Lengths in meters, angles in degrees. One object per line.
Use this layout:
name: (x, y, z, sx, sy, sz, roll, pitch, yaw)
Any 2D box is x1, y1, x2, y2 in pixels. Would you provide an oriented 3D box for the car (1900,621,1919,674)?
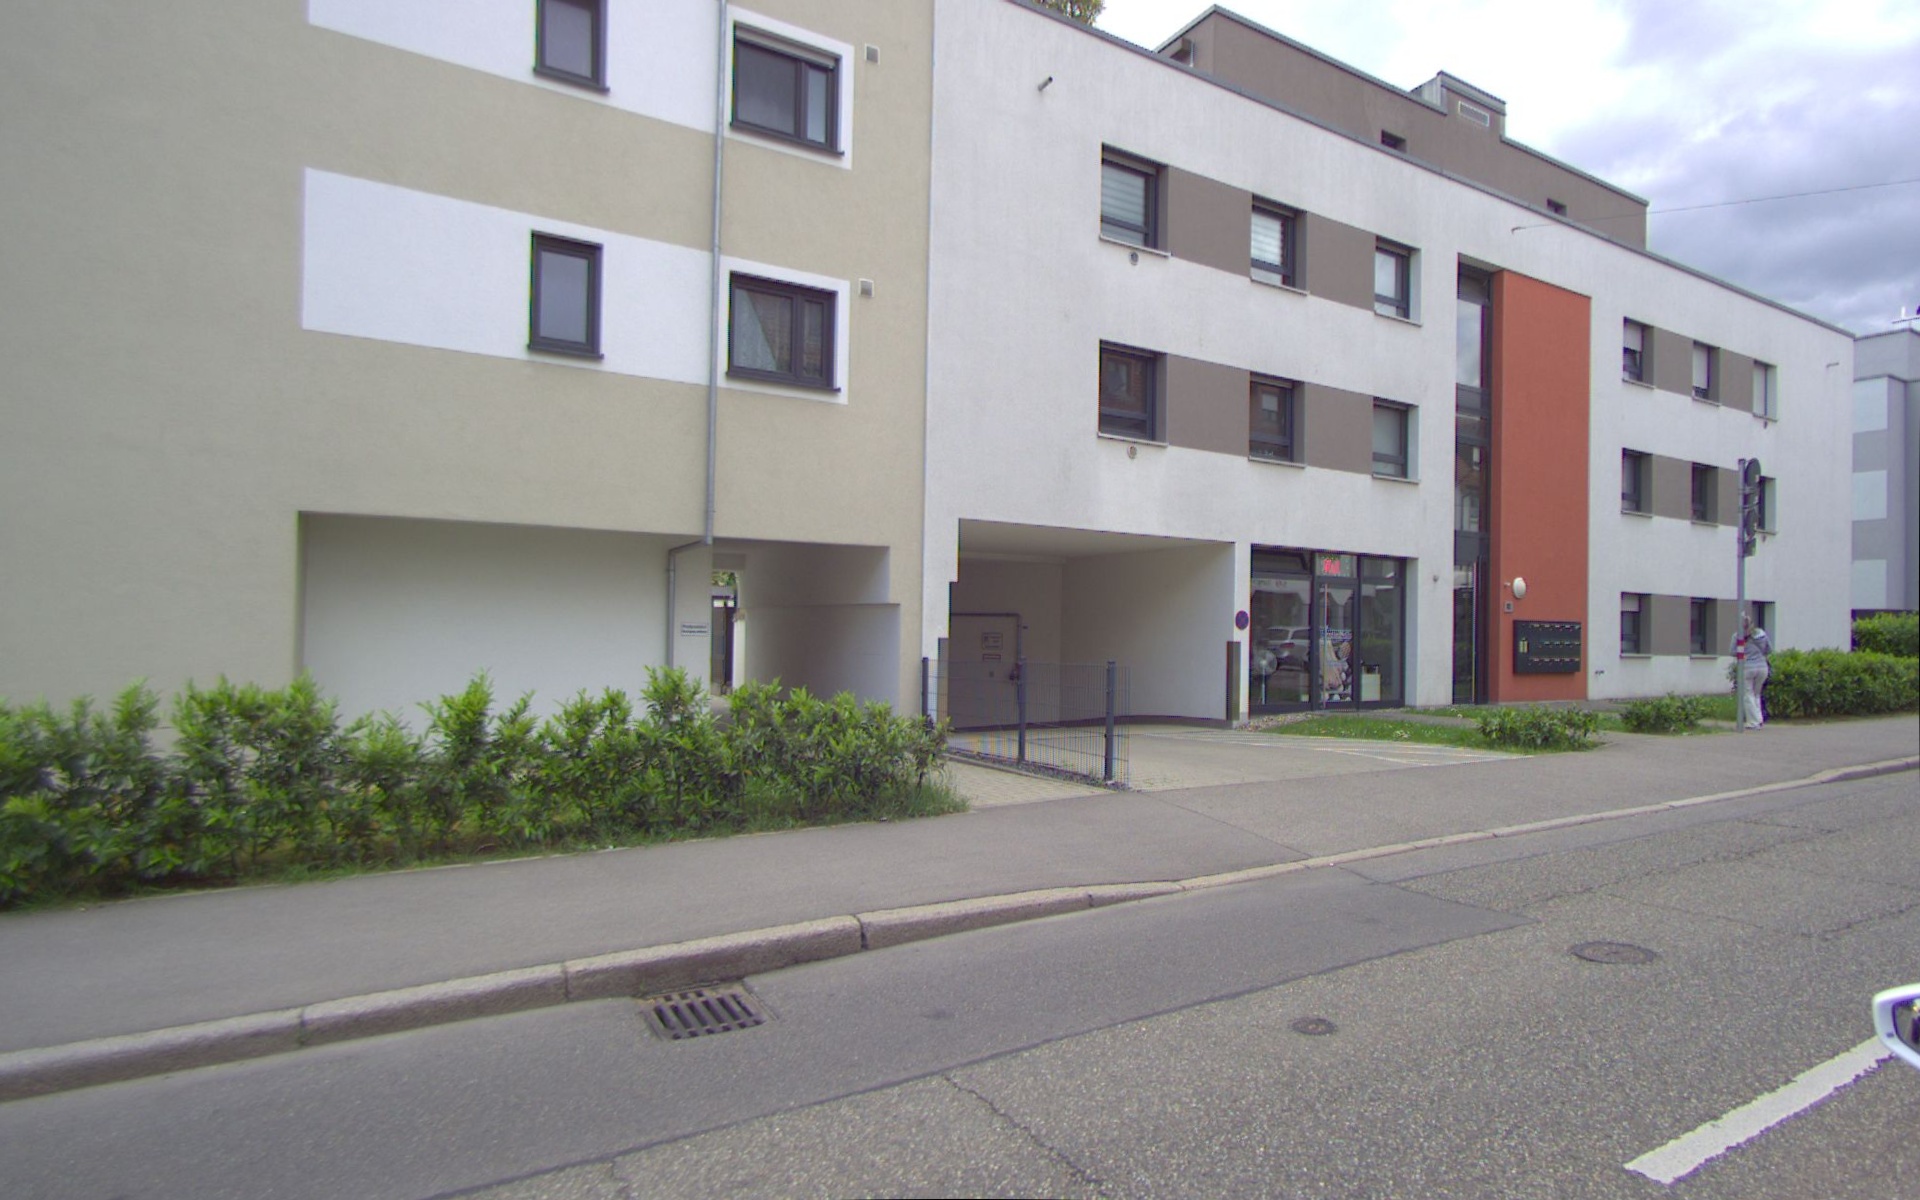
car: (32.232, 1.519, 31.198, 1.702, 1.689, 4.150, 2, -2, -26)

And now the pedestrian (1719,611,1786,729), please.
pedestrian: (11.468, 0.999, 14.549, 0.628, 1.664, 0.520, 0, -1, 21)
